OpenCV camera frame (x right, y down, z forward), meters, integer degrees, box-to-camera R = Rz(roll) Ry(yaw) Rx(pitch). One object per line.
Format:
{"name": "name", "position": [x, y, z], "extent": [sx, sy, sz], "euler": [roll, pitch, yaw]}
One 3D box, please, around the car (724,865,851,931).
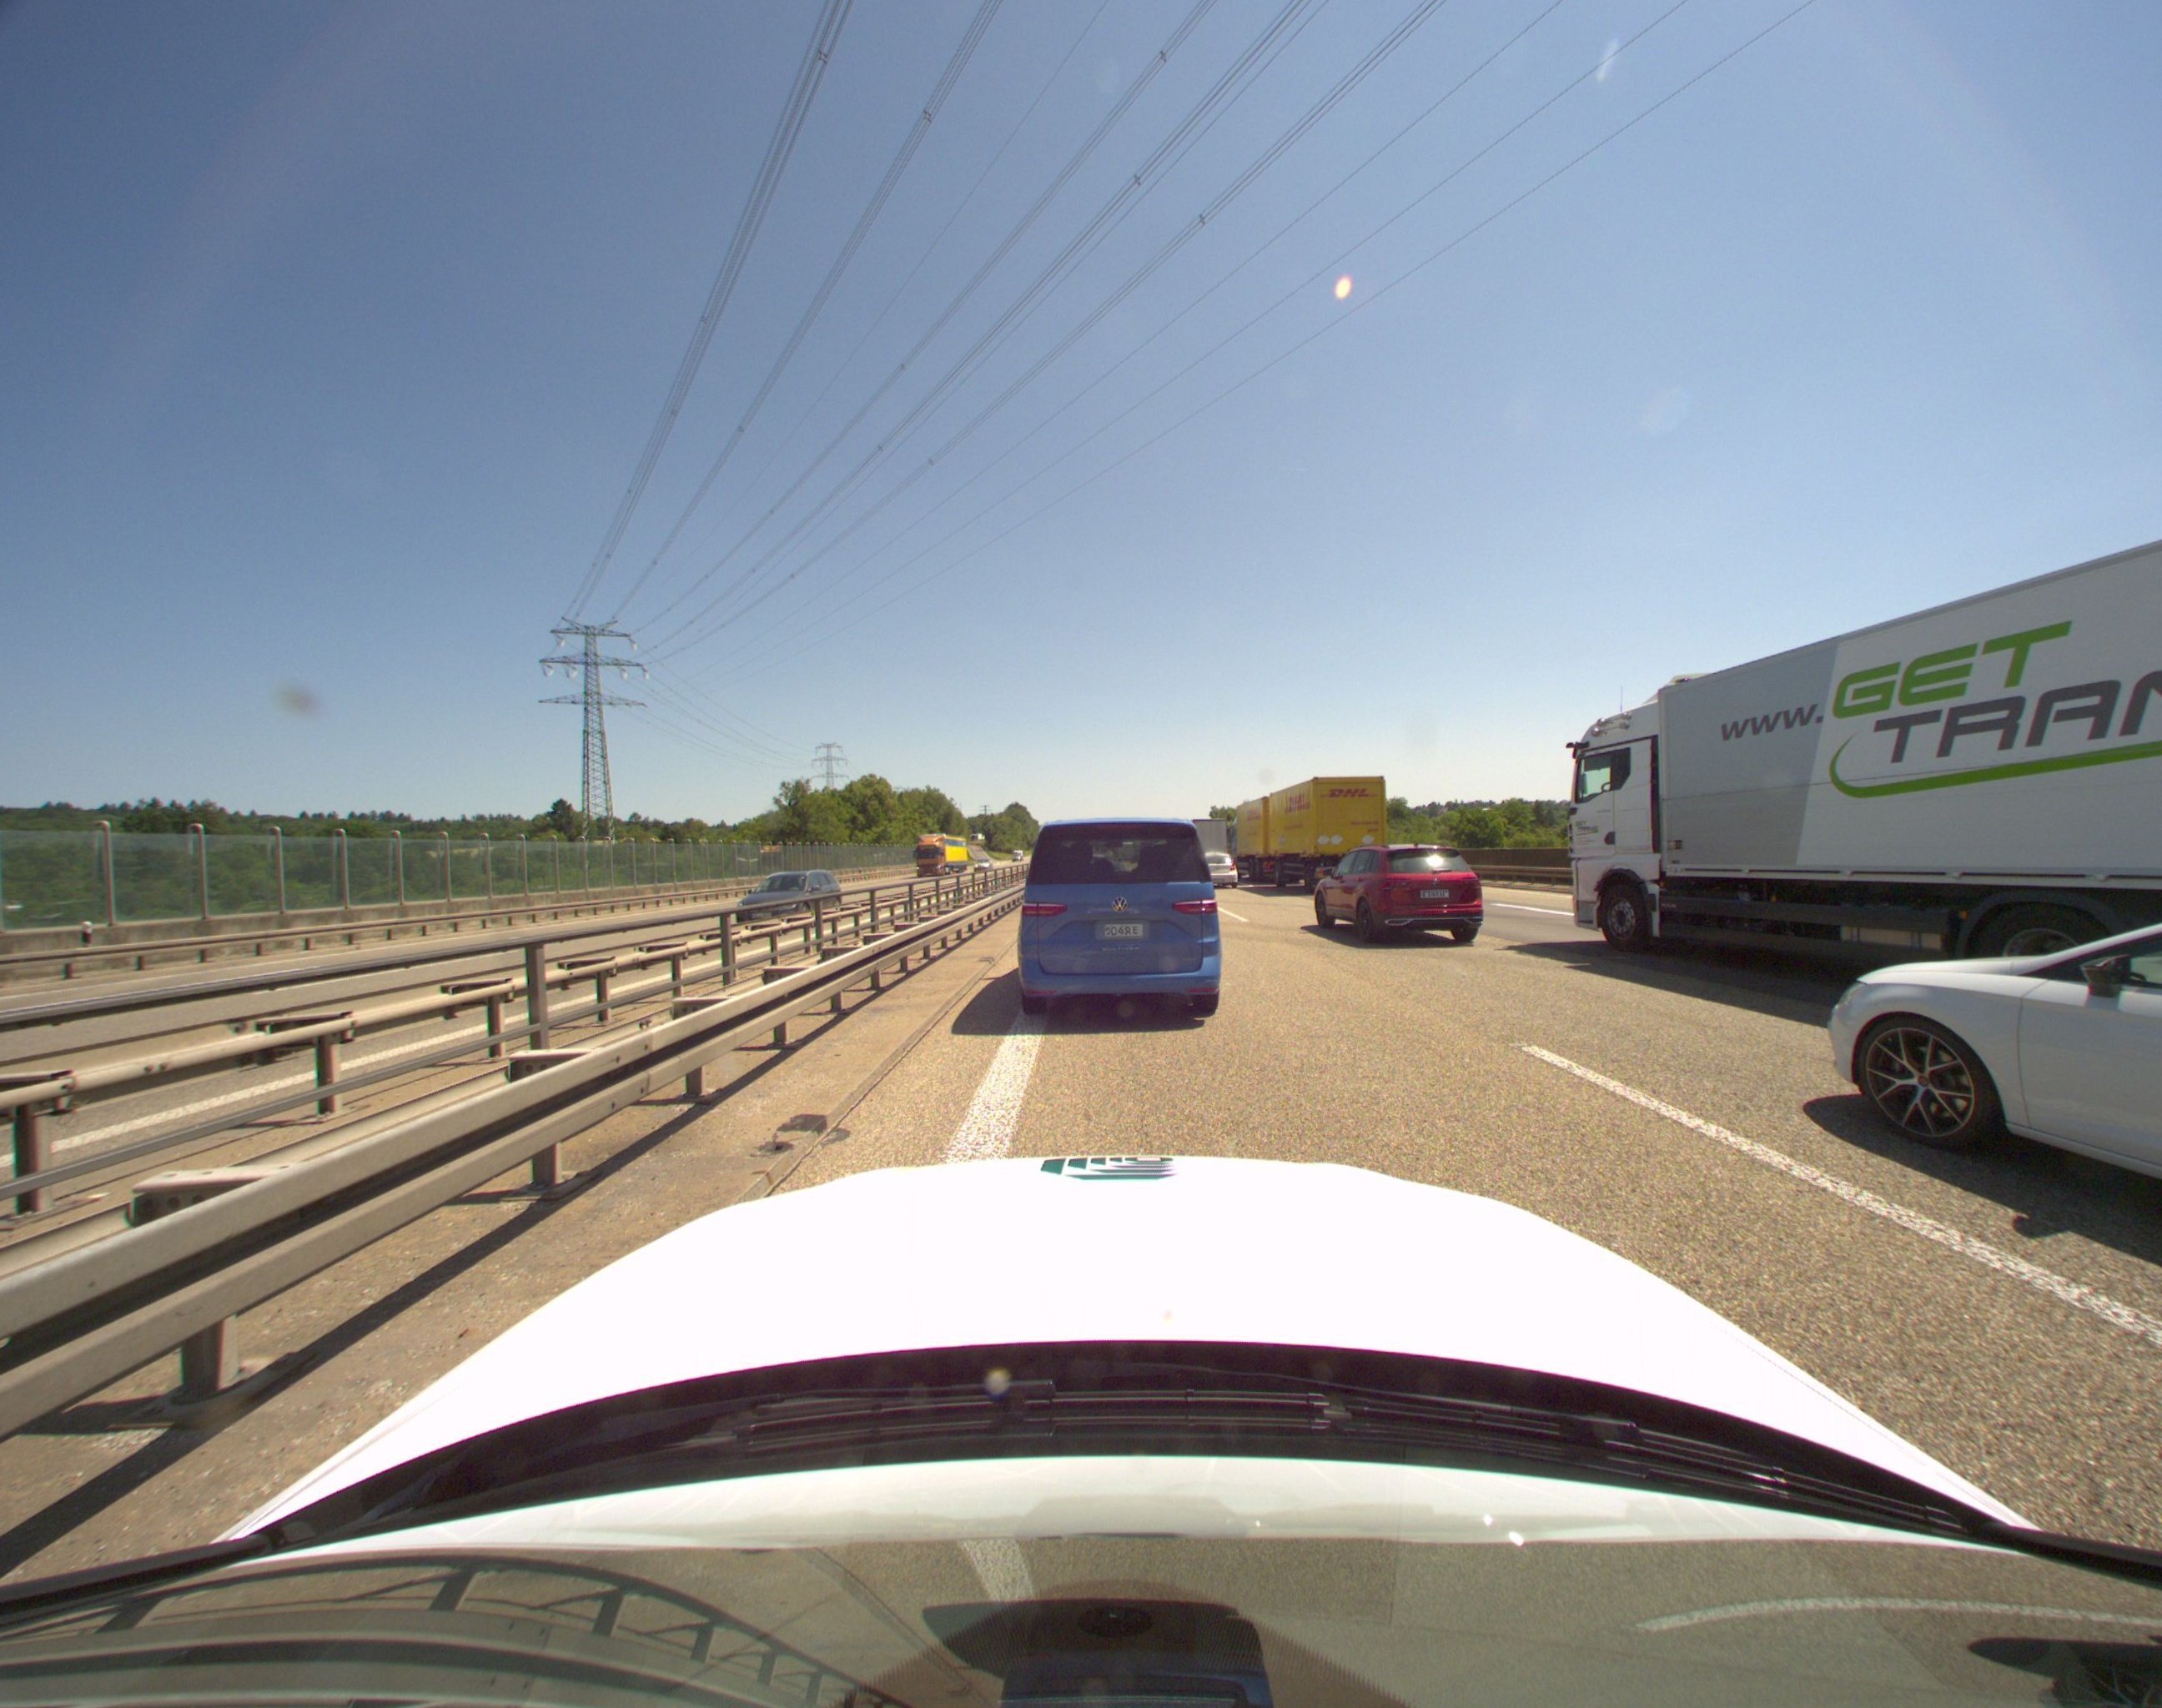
{"name": "car", "position": [-7.965, 1.145, 22.549], "extent": [1.755, 1.508, 4.225], "euler": [-3, 0, 2]}

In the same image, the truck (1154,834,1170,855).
{"name": "truck", "position": [10.777, -1.233, 108.385], "extent": [1.790, 2.596, 4.307], "euler": [0, -1, 2]}

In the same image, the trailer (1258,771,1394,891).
{"name": "trailer", "position": [9.404, -0.757, 32.474], "extent": [2.674, 4.088, 8.979], "euler": [0, -1, 0]}

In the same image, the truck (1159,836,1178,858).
{"name": "truck", "position": [10.043, -0.809, 93.925], "extent": [1.791, 2.449, 4.505], "euler": [0, -1, 2]}

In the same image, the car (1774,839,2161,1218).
{"name": "car", "position": [4.983, 0.666, 2.677], "extent": [1.702, 1.451, 4.429], "euler": [0, 0, 1]}

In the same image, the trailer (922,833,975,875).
{"name": "trailer", "position": [-14.071, 0.055, 87.770], "extent": [2.617, 4.114, 14.026], "euler": [-2, -1, 3]}

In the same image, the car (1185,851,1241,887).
{"name": "car", "position": [5.653, 0.639, 35.362], "extent": [1.809, 1.470, 3.932], "euler": [0, -1, 0]}

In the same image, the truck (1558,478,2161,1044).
{"name": "truck", "position": [8.973, -0.638, 7.697], "extent": [2.842, 3.934, 10.611], "euler": [0, -1, 1]}

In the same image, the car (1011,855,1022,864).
{"name": "car", "position": [-13.863, 1.203, 175.586], "extent": [1.835, 1.751, 3.944], "euler": [0, -1, 1]}

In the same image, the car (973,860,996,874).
{"name": "car", "position": [-10.477, 1.395, 88.636], "extent": [1.681, 1.303, 4.017], "euler": [-4, -1, 4]}

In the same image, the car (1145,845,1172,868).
{"name": "car", "position": [6.548, 0.235, 69.280], "extent": [1.955, 1.936, 3.933], "euler": [0, -1, 1]}

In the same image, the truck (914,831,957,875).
{"name": "truck", "position": [-14.418, -0.081, 81.012], "extent": [2.660, 4.185, 6.292], "euler": [-2, -1, 3]}

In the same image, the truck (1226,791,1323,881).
{"name": "truck", "position": [9.660, -0.779, 41.887], "extent": [2.690, 4.088, 9.939], "euler": [0, -1, 0]}

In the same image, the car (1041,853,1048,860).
{"name": "car", "position": [-10.823, 0.769, 240.538], "extent": [1.835, 2.042, 3.944], "euler": [0, -1, 1]}

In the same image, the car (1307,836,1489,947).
{"name": "car", "position": [5.491, 0.588, 14.725], "extent": [1.702, 1.679, 4.286], "euler": [-1, 0, 2]}

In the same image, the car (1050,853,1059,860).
{"name": "car", "position": [-6.523, 0.604, 201.650], "extent": [1.835, 1.751, 3.944], "euler": [0, -1, 1]}

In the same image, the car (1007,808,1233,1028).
{"name": "car", "position": [0.380, 0.565, 8.997], "extent": [1.924, 1.874, 4.001], "euler": [0, -1, 1]}

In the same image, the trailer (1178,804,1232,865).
{"name": "trailer", "position": [10.077, -1.448, 67.313], "extent": [3.015, 4.611, 10.928], "euler": [0, -1, 2]}

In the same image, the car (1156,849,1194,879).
{"name": "car", "position": [5.487, 0.581, 47.964], "extent": [1.809, 1.679, 3.932], "euler": [0, -1, 1]}

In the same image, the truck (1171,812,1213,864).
{"name": "truck", "position": [10.373, -1.360, 76.714], "extent": [3.015, 4.611, 7.923], "euler": [0, -1, 2]}

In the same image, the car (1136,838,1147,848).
{"name": "car", "position": [11.779, -2.135, 159.342], "extent": [1.986, 2.014, 4.001], "euler": [0, -1, 1]}

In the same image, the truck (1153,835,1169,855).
{"name": "truck", "position": [10.079, -1.108, 103.070], "extent": [1.735, 2.549, 4.211], "euler": [0, -1, 2]}
